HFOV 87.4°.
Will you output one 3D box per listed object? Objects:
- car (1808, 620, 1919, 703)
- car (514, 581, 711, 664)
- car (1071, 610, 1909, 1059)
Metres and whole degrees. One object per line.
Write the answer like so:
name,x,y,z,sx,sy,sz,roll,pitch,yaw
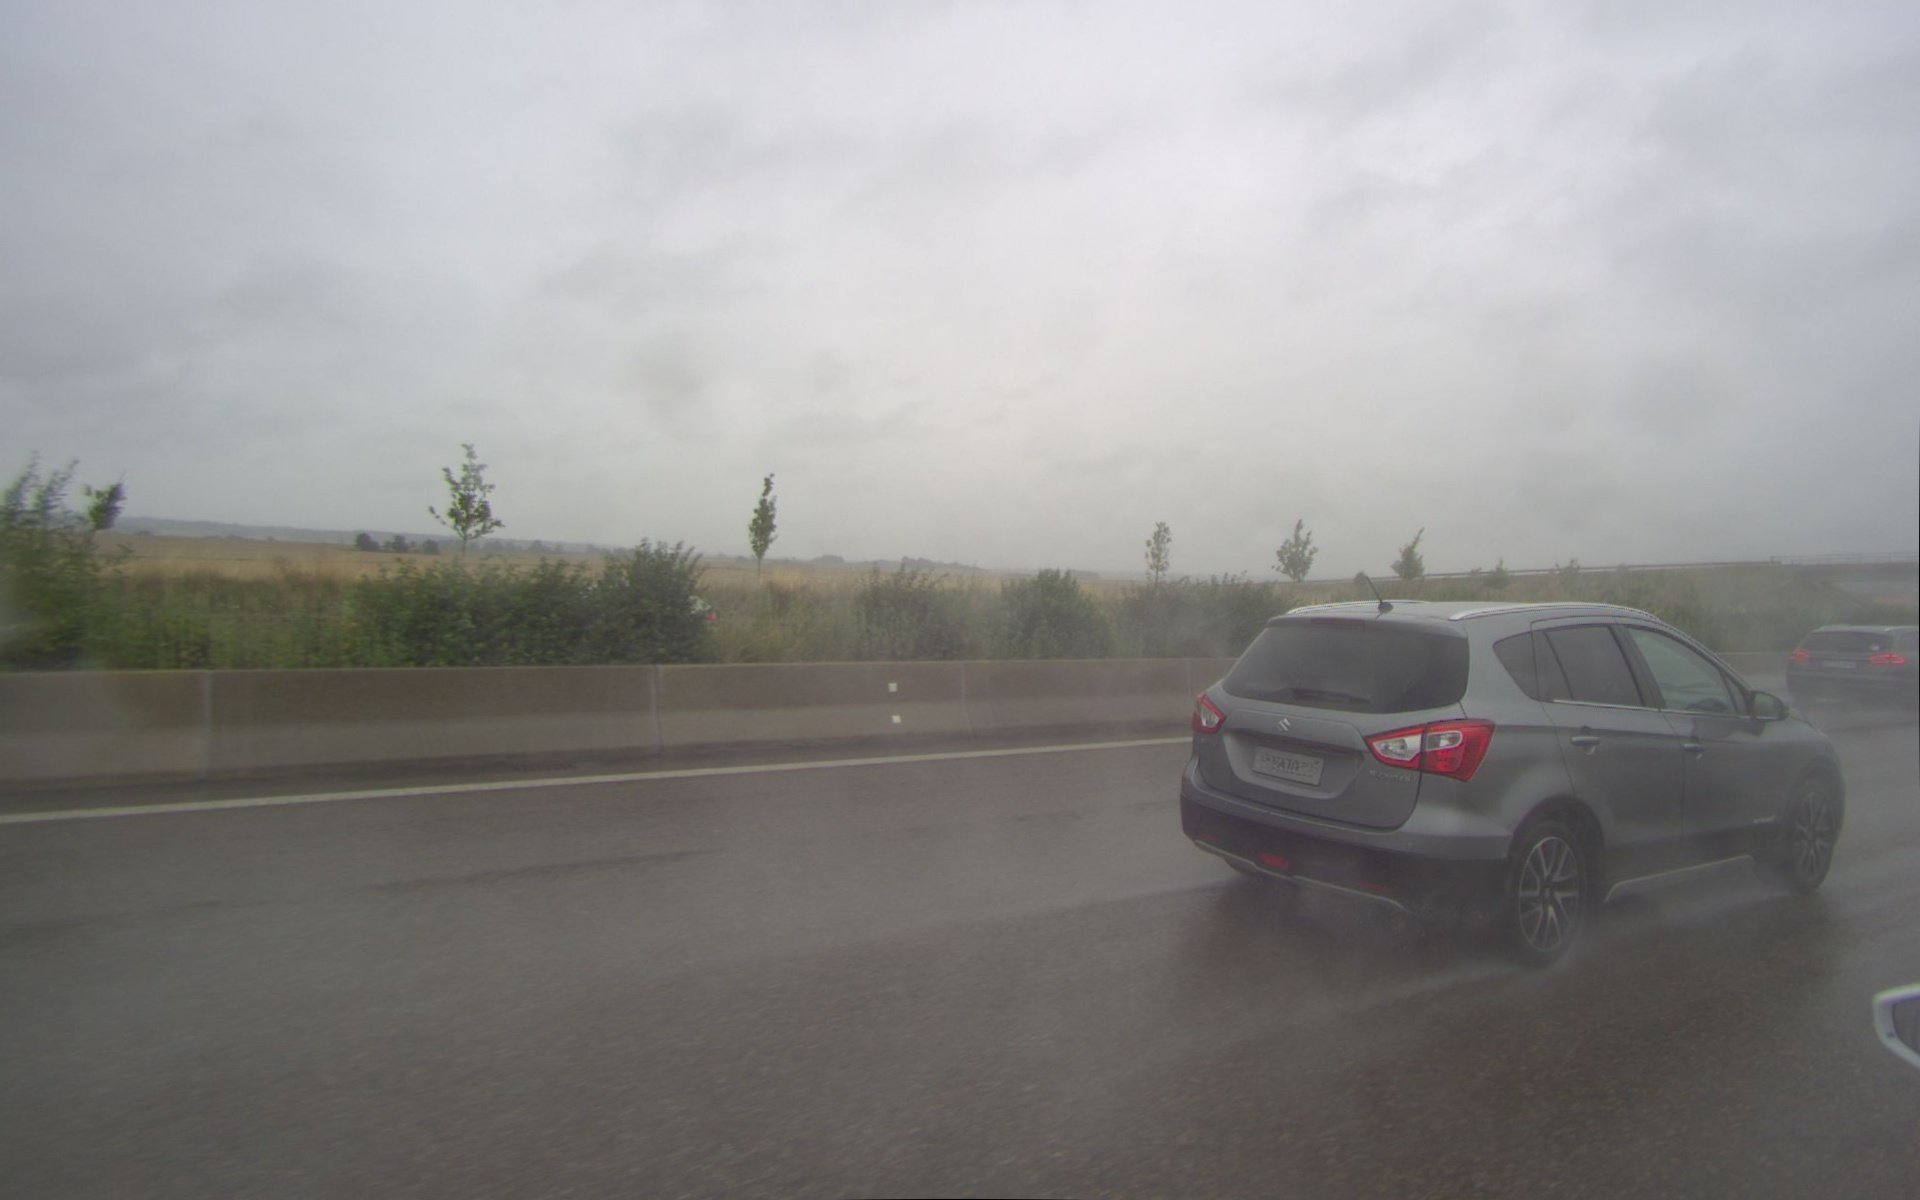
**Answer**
car,17.772,1.102,18.832,3.952,1.372,1.605,1,0,-30
car,-7.349,0.474,21.290,3.678,1.617,1.670,1,0,-31
car,3.058,0.876,5.495,4.700,1.533,1.837,1,0,-30
